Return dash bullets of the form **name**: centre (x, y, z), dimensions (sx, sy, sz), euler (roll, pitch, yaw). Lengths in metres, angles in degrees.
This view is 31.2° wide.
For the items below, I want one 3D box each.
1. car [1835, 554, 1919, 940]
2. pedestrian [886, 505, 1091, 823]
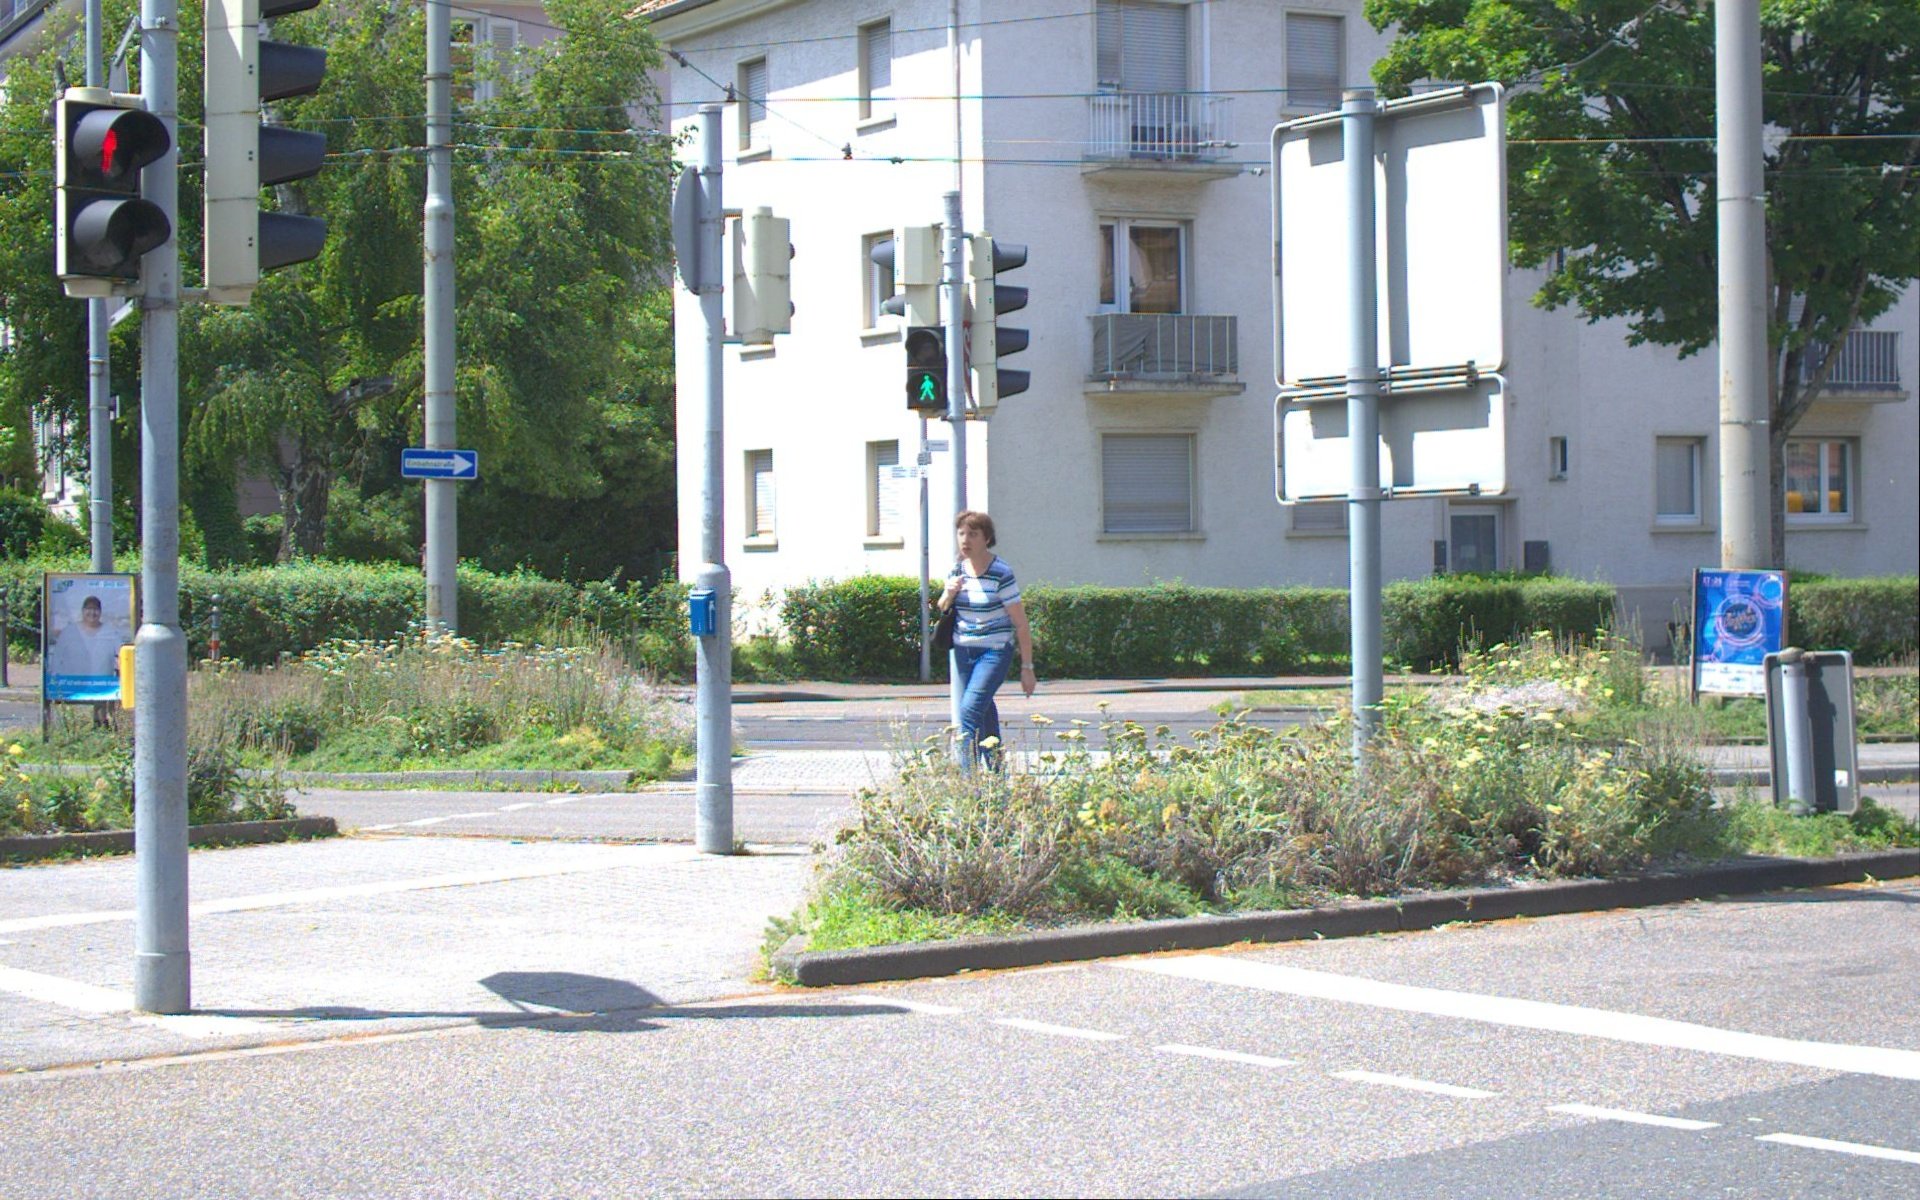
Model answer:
- **car**: centre (5.790, 0.560, 14.303), dimensions (4.413, 1.495, 1.999), euler (-1, 1, -41)
- **pedestrian**: centre (0.156, 0.335, 18.937), dimensions (0.836, 1.699, 0.762), euler (-1, 1, -41)
